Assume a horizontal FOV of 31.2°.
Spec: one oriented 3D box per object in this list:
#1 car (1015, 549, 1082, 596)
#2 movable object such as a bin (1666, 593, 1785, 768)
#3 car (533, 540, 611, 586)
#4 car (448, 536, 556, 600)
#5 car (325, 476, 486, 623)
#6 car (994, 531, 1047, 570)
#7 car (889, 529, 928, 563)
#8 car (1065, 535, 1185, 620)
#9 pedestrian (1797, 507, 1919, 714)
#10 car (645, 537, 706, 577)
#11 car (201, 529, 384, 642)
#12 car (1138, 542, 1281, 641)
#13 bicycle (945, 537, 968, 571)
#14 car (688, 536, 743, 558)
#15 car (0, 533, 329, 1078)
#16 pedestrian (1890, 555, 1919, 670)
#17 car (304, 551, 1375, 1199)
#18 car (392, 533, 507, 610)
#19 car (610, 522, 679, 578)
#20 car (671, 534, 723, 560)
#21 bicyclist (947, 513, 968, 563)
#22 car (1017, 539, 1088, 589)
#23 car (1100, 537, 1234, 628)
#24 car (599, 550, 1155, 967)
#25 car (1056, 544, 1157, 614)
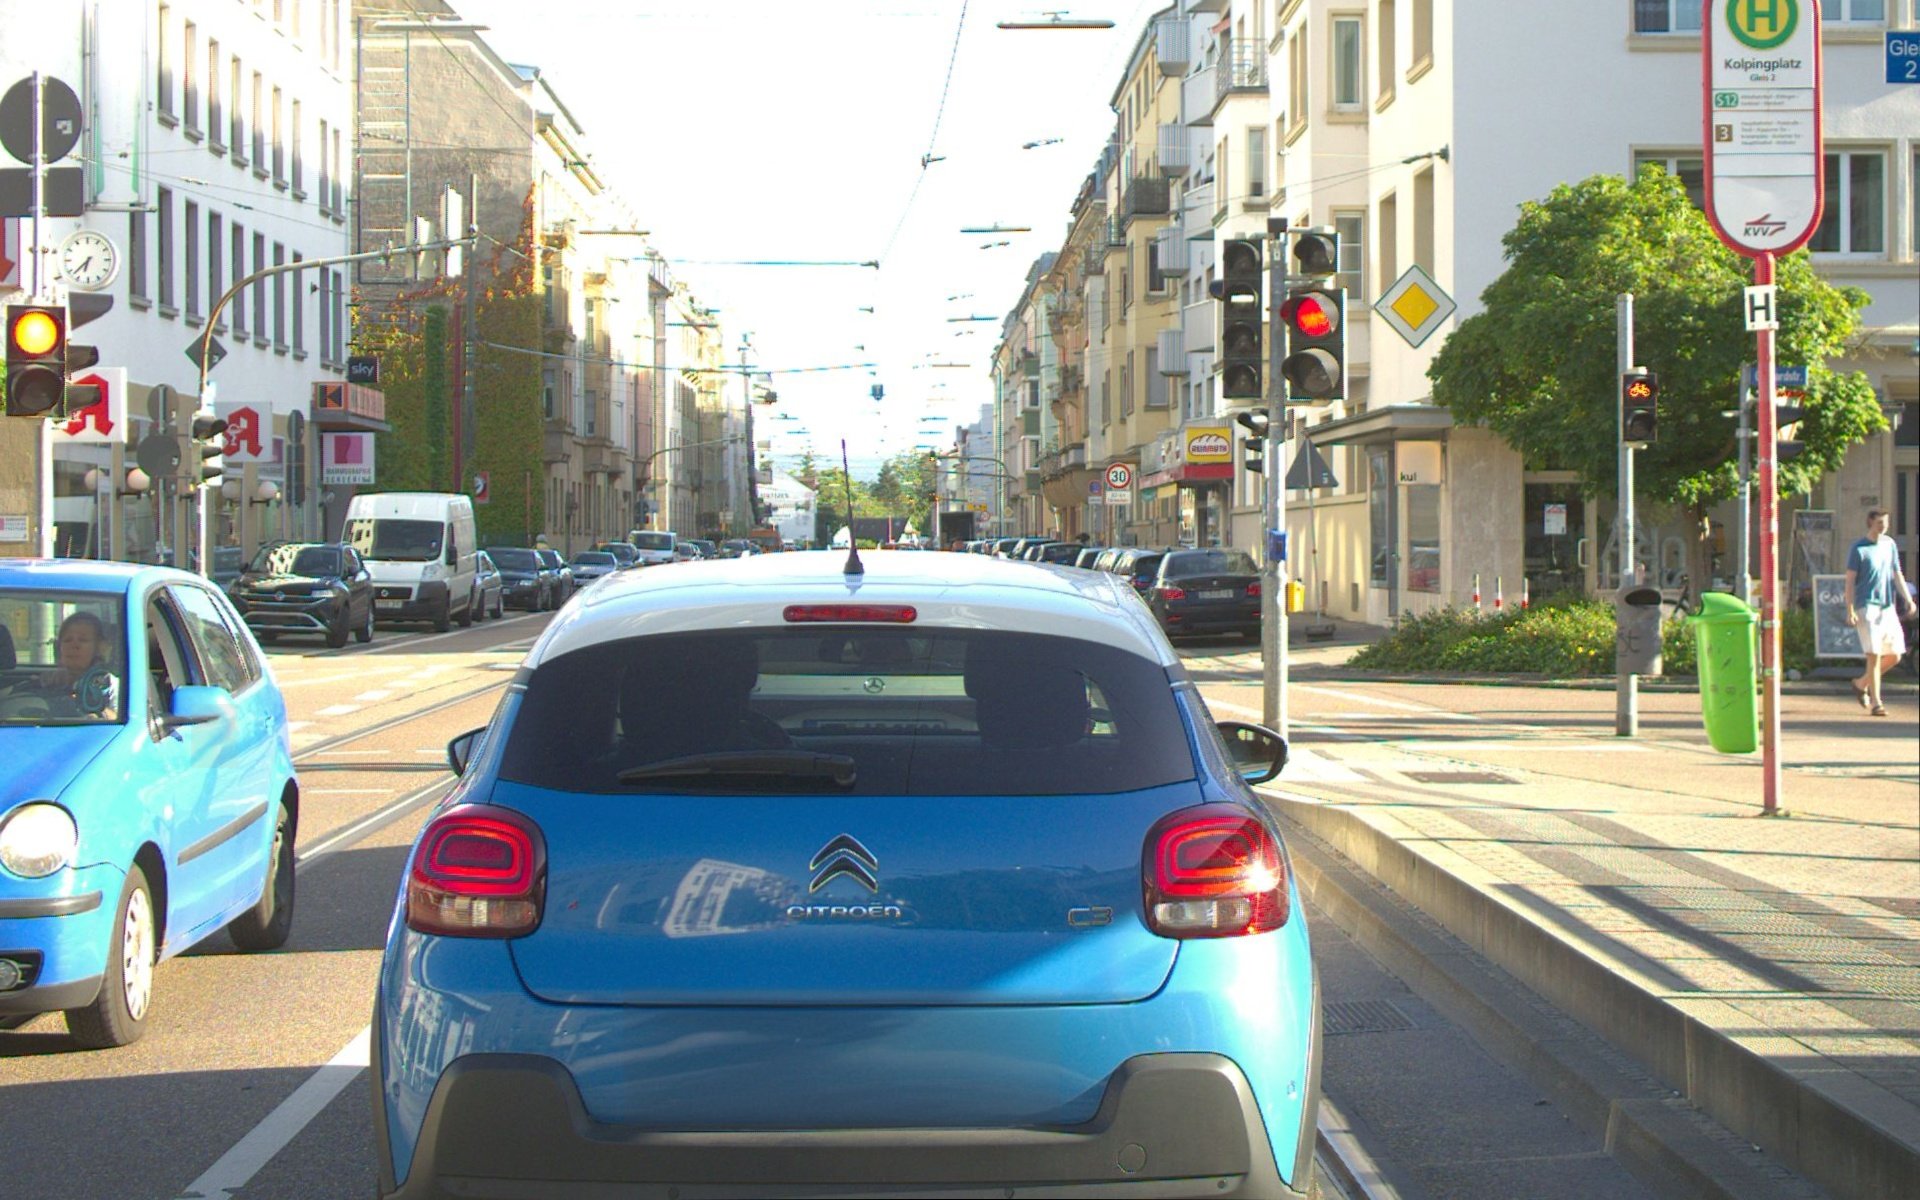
[{"bbox_3d":[2.796,-0.884,109.716,1.993,1.459,4.000,0,1,-1],"label":"car"},{"bbox_3d":[3.501,0.361,15.736,0.449,0.783,0.489,0,1,2],"label":"movable object such as a bin"},{"bbox_3d":[-11.670,-1.100,103.506,1.993,1.320,3.923,1,0,-2],"label":"car"},{"bbox_3d":[-10.410,-0.726,78.358,1.993,1.393,4.157,1,0,-2],"label":"car"},{"bbox_3d":[-10.082,-0.933,62.992,2.085,2.533,6.206,1,1,-2],"label":"car"},{"bbox_3d":[2.338,-1.925,133.551,1.993,1.459,4.000,0,1,0],"label":"car"},{"bbox_3d":[-2.673,-2.824,179.875,1.993,1.766,4.000,0,1,-1],"label":"car"},{"bbox_3d":[2.975,-0.431,62.798,1.993,1.496,4.000,0,1,0],"label":"car"},{"bbox_3d":[8.360,0.097,31.661,0.981,1.871,1.129,0,0,-3],"label":"pedestrian"},{"bbox_3d":[-11.310,-1.712,136.924,1.955,1.547,3.938,1,0,2],"label":"car"},{"bbox_3d":[-10.174,-0.227,52.710,1.993,1.563,4.403,3,0,-2],"label":"car"},{"bbox_3d":[3.785,-0.159,52.679,1.909,1.459,4.000,0,1,0],"label":"car"},{"bbox_3d":[-0.165,-1.879,140.508,0.920,1.384,3.132,0,1,0],"label":"bicycle"},{"bbox_3d":[-13.170,-2.860,185.118,1.994,1.152,4.513,0,1,9],"label":"car"},{"bbox_3d":[-3.253,0.522,11.404,1.667,1.482,4.000,1,1,-2],"label":"car"},{"bbox_3d":[11.080,0.142,39.382,0.741,1.311,0.627,0,1,23],"label":"pedestrian"},{"bbox_3d":[-0.226,0.651,7.511,1.728,1.477,3.827,1,1,-1],"label":"car"},{"bbox_3d":[-10.332,-0.584,69.768,1.888,1.491,3.562,1,0,-2],"label":"car"},{"bbox_3d":[-11.644,-1.828,127.064,2.006,2.007,4.689,1,0,1],"label":"car"},{"bbox_3d":[-11.633,-2.361,152.479,1.993,1.152,4.000,0,1,0],"label":"car"},{"bbox_3d":[-0.115,-2.533,140.216,0.809,2.007,0.922,1,0,-1],"label":"bicyclist"},{"bbox_3d":[2.718,-1.086,102.383,1.993,1.459,4.504,0,1,0],"label":"car"},{"bbox_3d":[3.402,-0.306,57.223,1.993,1.459,4.000,0,1,0],"label":"car"},{"bbox_3d":[-0.332,0.539,14.819,1.984,1.459,4.816,1,1,-1],"label":"car"},{"bbox_3d":[3.105,-0.464,73.682,1.993,1.459,4.000,0,1,0],"label":"car"}]
